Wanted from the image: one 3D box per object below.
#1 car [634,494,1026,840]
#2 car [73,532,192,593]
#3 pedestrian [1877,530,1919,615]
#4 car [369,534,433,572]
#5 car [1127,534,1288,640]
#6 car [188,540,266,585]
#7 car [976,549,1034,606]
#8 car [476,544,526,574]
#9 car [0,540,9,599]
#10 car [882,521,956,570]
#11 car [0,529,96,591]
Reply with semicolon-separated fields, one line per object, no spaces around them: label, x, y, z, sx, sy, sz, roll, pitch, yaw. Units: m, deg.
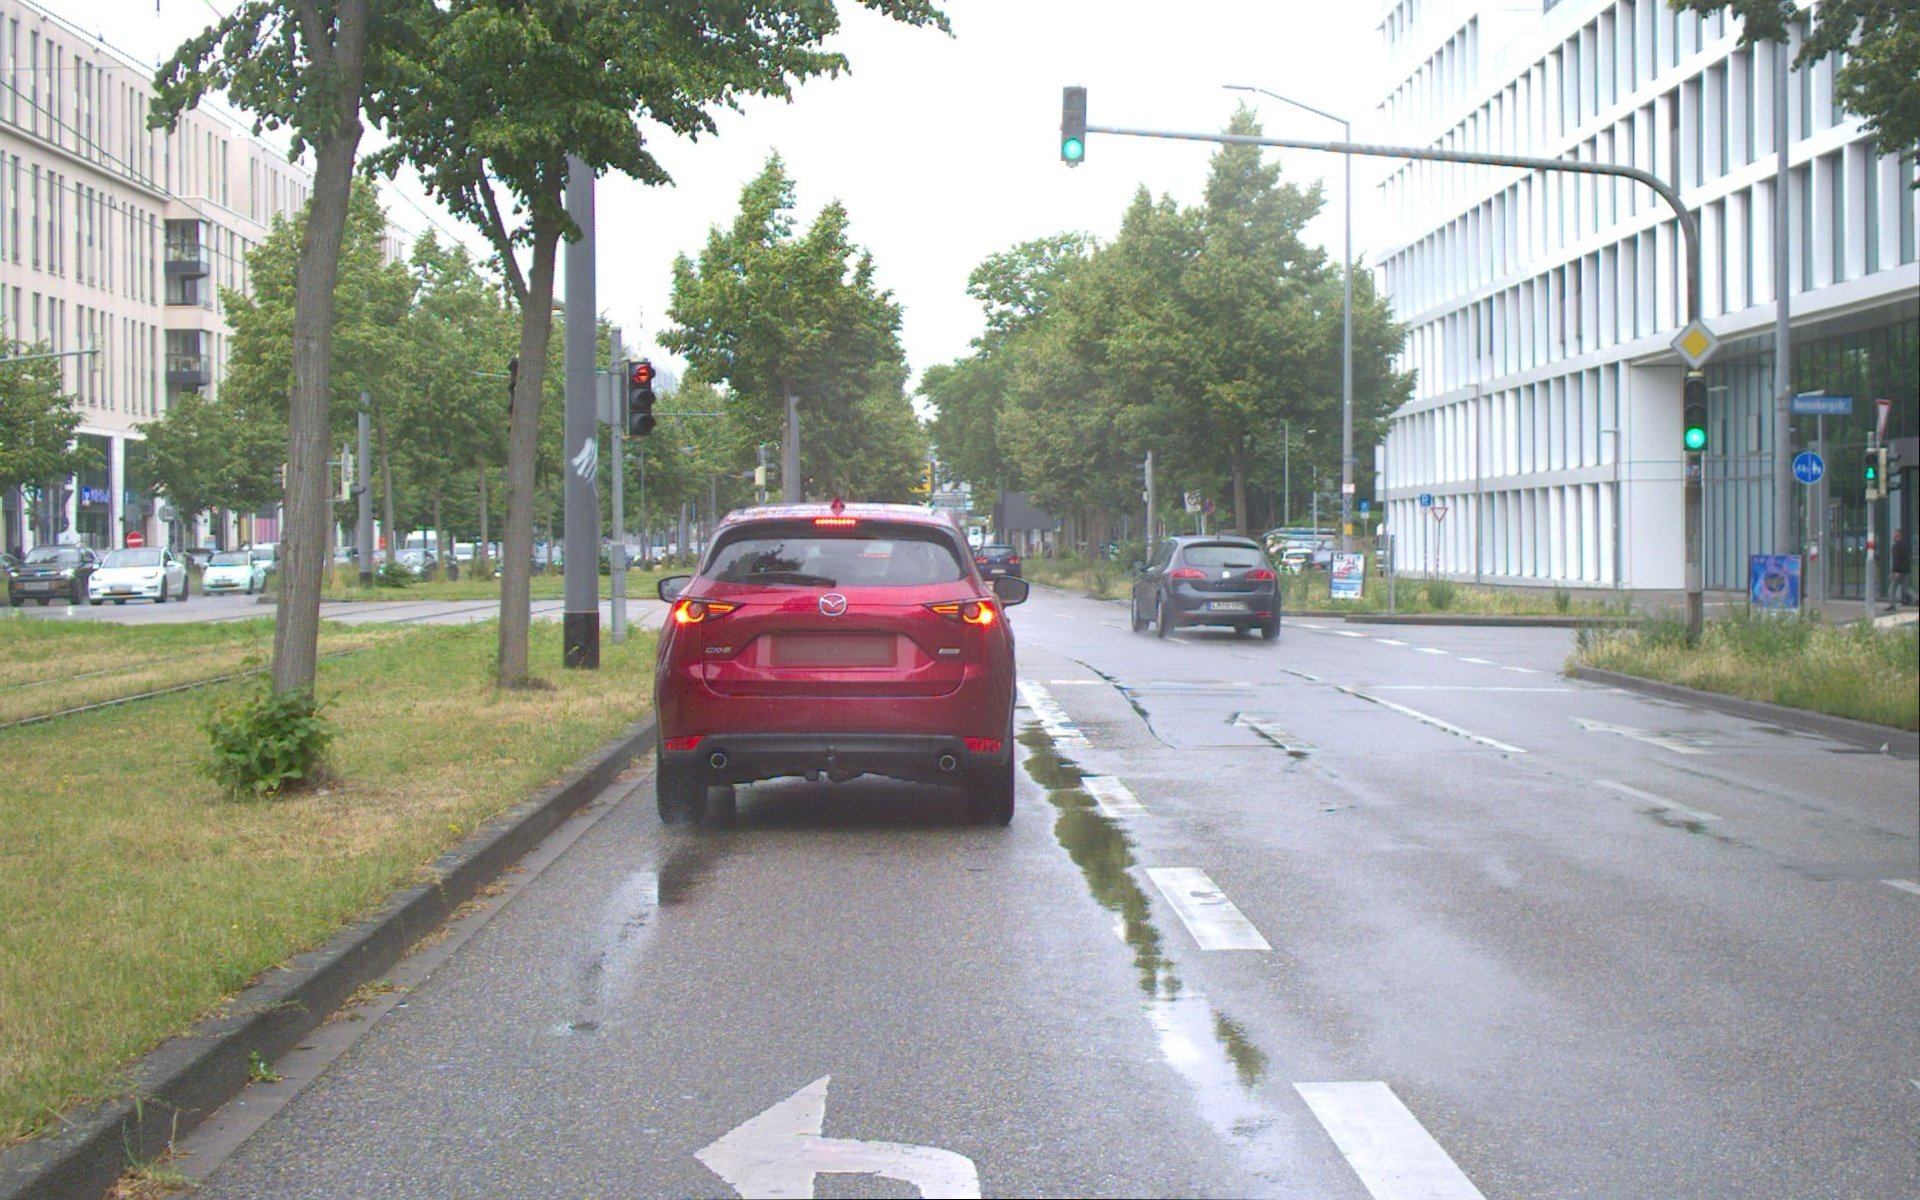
car;-0.675;0.284;18.724;1.898;1.671;4.000;0;1;-1
car;-20.939;-0.962;87.135;1.993;1.479;4.446;0;1;-1
pedestrian;19.117;-0.559;69.609;0.677;1.701;0.784;0;1;-33
car;-21.985;-1.859;135.278;1.993;1.479;4.446;0;1;-3
car;3.549;-0.210;49.850;1.743;1.460;3.782;0;1;-5
car;-24.626;-1.267;115.617;1.993;1.479;4.446;0;1;-4
car;1.613;-0.842;124.390;1.993;2.007;4.000;0;1;-1
car;-23.151;-2.074;173.437;1.993;1.479;4.446;0;1;-1
car;-30.553;-0.929;104.977;1.993;1.831;4.000;0;1;-1
car;-1.304;-1.714;106.963;1.967;1.432;4.553;1;1;-5
car;-24.617;-1.084;92.209;1.993;1.612;4.001;0;1;-2
